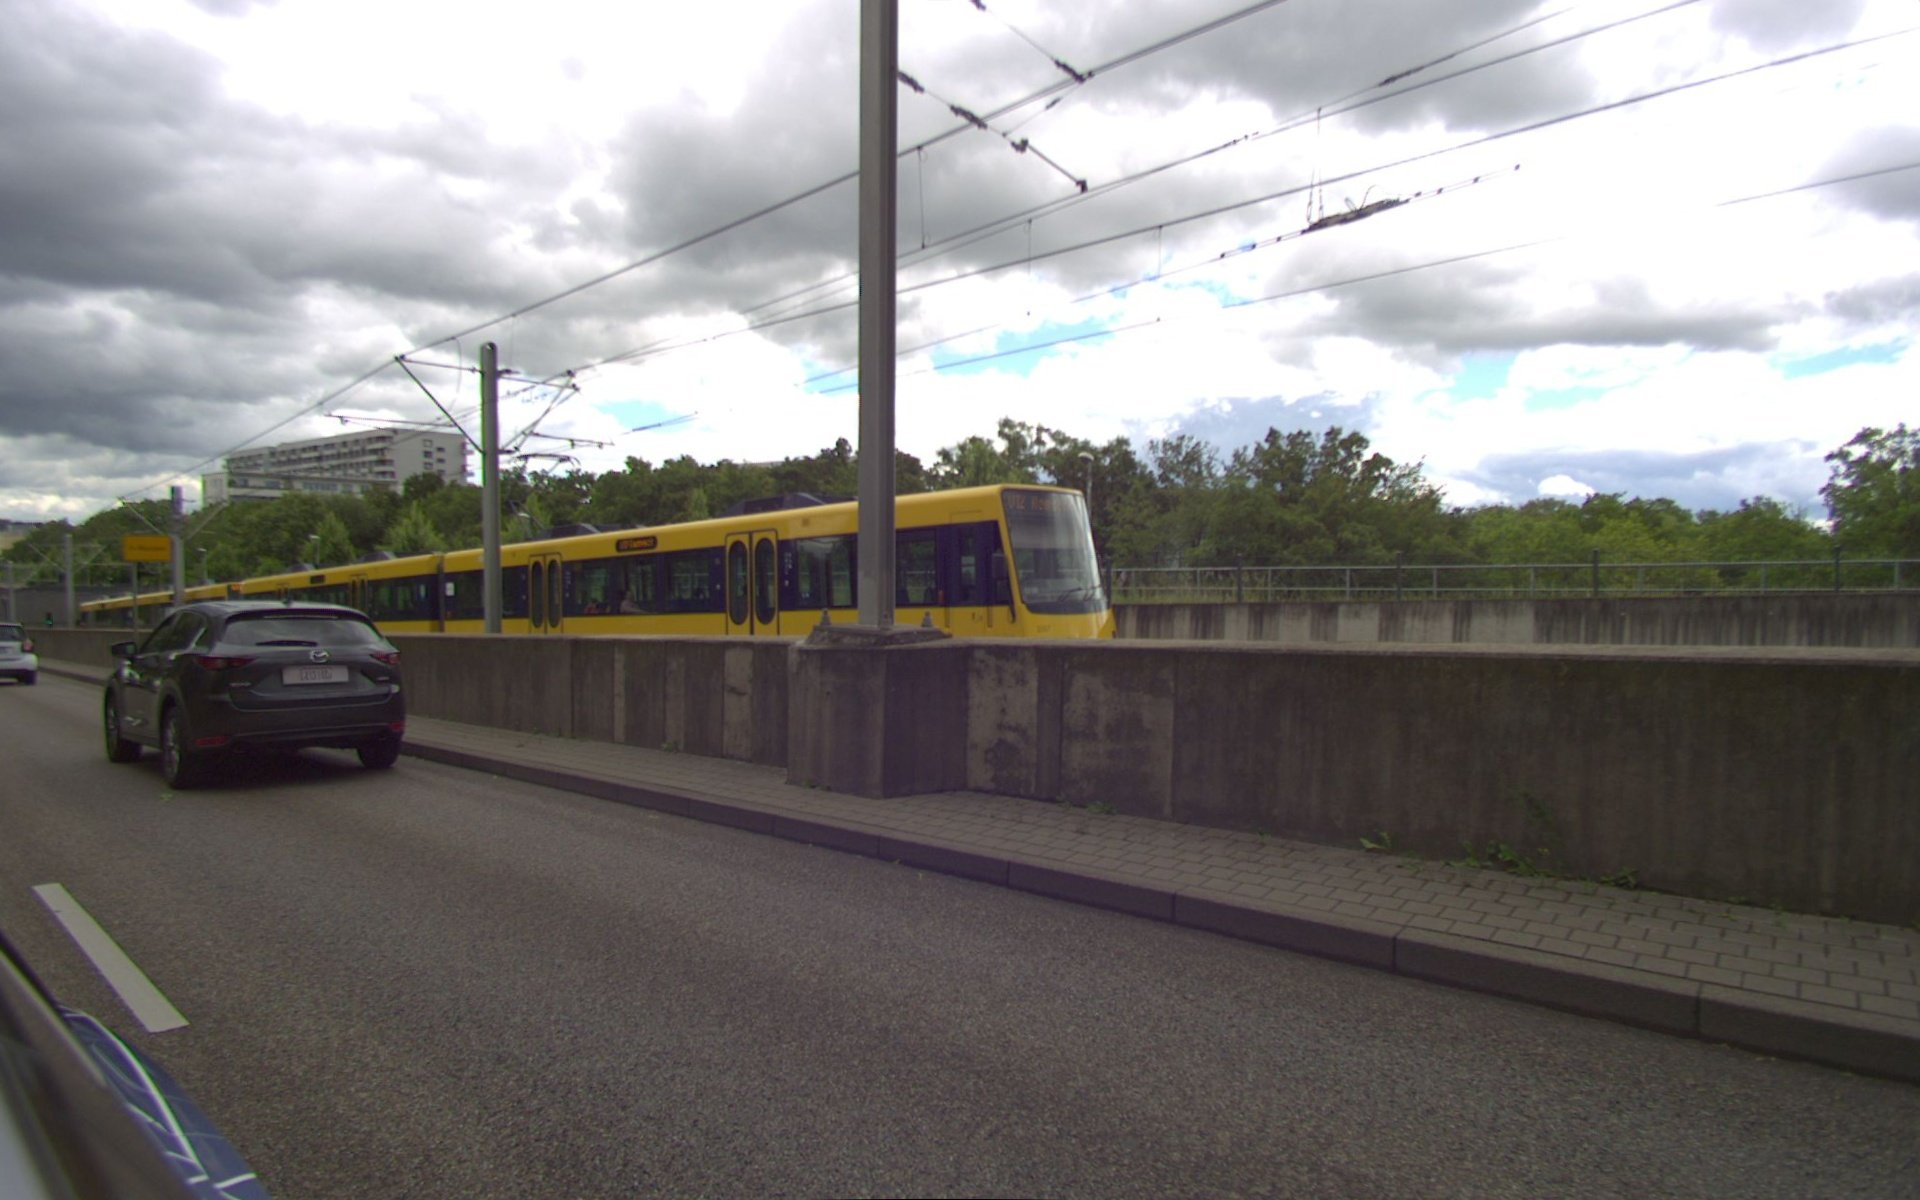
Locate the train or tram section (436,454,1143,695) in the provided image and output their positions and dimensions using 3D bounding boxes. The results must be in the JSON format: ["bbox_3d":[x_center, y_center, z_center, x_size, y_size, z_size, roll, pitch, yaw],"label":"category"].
[{"bbox_3d":[-5.142,-0.257,20.505,18.457,3.217,2.753,-1,0,40],"label":"train or tram section"}]

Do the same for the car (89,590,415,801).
[{"bbox_3d":[-7.236,0.828,10.189,4.063,1.700,1.759,-2,-2,41],"label":"car"}]

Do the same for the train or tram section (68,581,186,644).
[{"bbox_3d":[-49.066,0.725,59.249,17.560,3.215,2.682,-1,0,42],"label":"train or tram section"}]

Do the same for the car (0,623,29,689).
[{"bbox_3d":[-23.668,1.331,24.402,2.696,1.552,1.577,-1,-2,43],"label":"car"}]

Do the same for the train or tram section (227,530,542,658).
[{"bbox_3d":[-19.252,-0.071,32.502,18.462,3.217,2.752,-1,0,41],"label":"train or tram section"}]

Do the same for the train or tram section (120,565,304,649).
[{"bbox_3d":[-35.046,0.410,46.736,19.908,3.239,2.706,-1,1,42],"label":"train or tram section"}]
